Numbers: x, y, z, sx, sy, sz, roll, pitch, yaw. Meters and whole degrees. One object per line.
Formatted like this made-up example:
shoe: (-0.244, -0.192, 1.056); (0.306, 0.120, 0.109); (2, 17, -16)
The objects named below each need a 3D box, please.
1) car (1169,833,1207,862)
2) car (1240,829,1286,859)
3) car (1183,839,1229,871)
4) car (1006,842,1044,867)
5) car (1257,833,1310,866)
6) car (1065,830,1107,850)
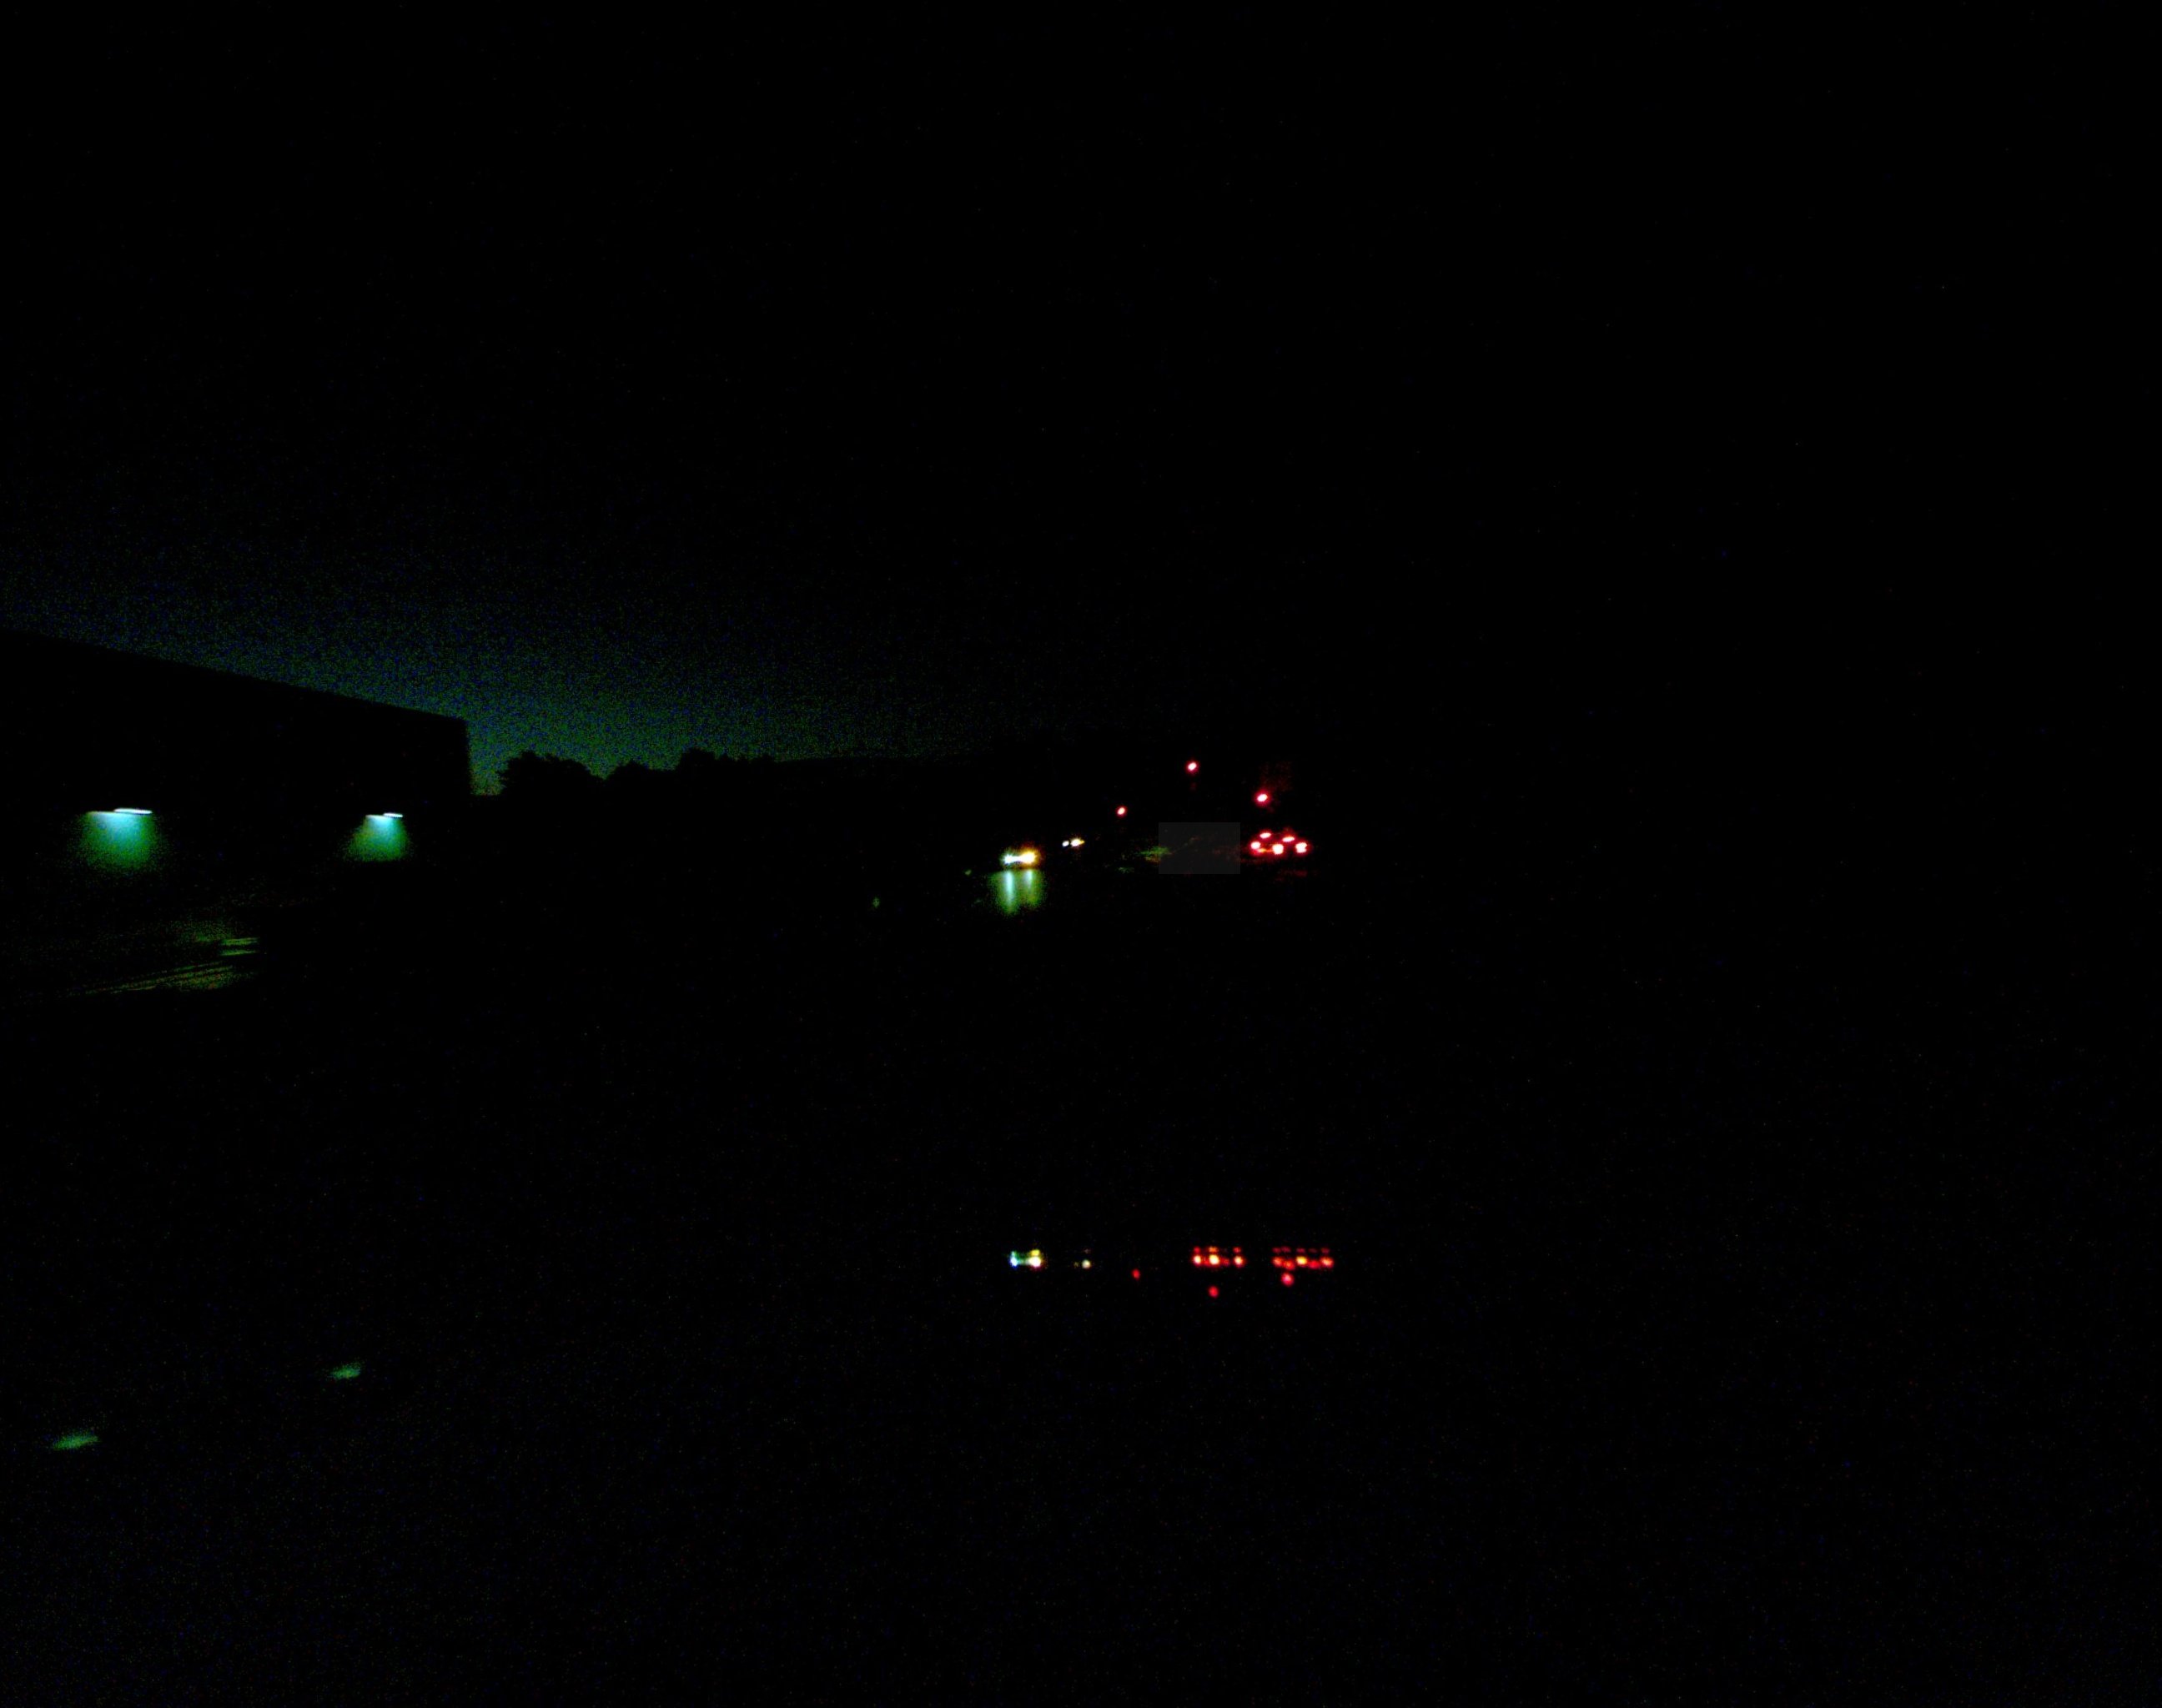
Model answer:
car: (6.664, -0.432, 47.737); (1.703, 1.467, 3.867); (-5, 4, -1)
car: (10.820, -0.649, 45.391); (1.758, 1.453, 3.998); (-6, 3, 1)
car: (6.543, -0.001, 40.098); (1.714, 1.436, 3.984); (-4, 2, 1)
car: (-3.809, -0.003, 52.588); (1.762, 1.451, 4.193); (-4, 2, 7)
car: (10.290, -0.255, 38.843); (1.687, 1.451, 3.811); (-3, 2, 1)
car: (0.447, -1.264, 67.861); (1.654, 1.442, 3.495); (-2, 3, 44)
